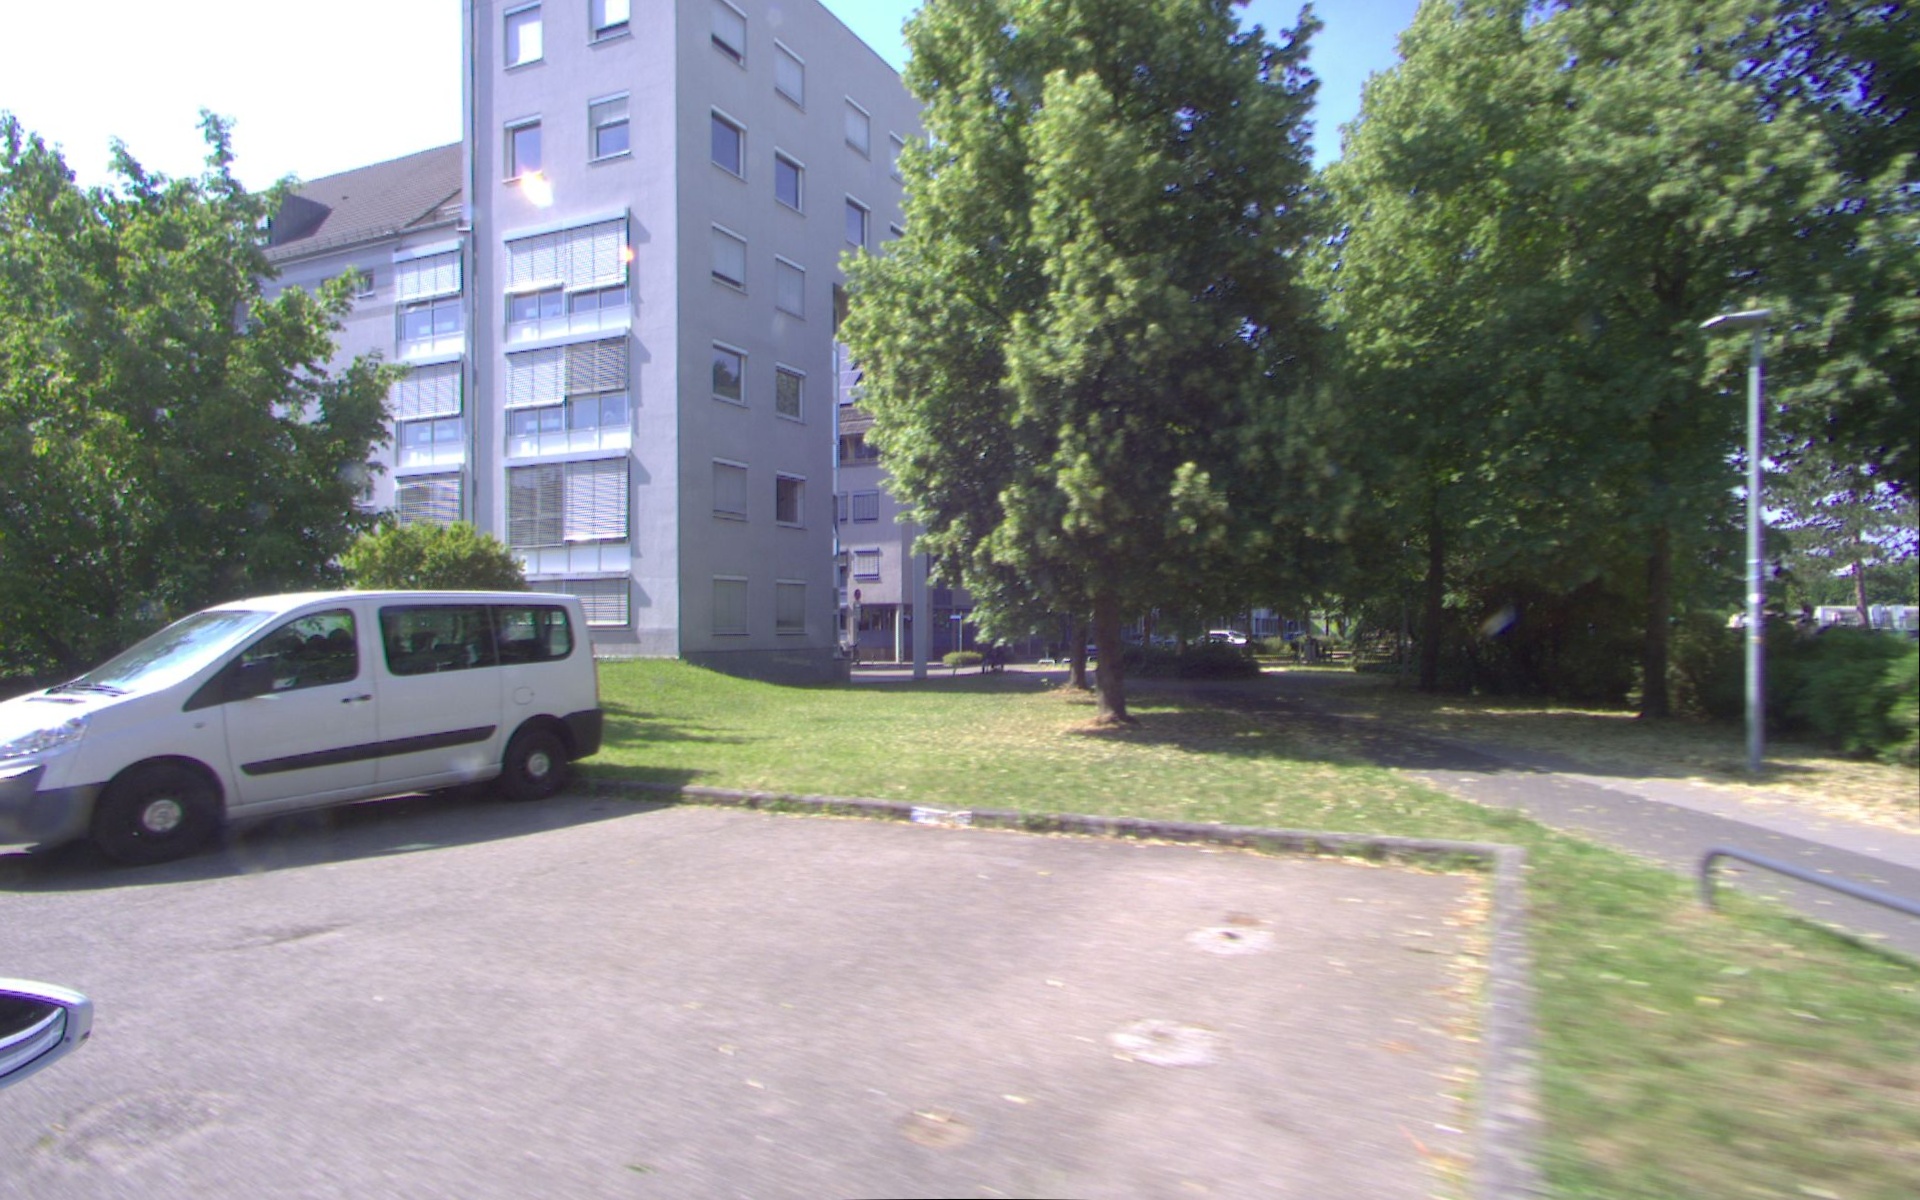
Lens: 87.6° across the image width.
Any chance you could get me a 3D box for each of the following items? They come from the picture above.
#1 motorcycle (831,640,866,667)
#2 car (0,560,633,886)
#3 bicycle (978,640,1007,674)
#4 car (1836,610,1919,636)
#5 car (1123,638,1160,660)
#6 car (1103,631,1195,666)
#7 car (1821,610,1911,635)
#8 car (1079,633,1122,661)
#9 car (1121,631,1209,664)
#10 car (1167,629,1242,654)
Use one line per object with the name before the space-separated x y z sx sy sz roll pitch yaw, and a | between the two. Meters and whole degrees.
motorcycle | -5.503 2.634 49.526 0.620 1.262 2.054 0 -1 30
car | -5.443 0.812 8.582 1.970 1.958 5.019 0 -2 30
bicycle | 1.081 1.859 32.977 0.388 1.063 1.445 0 -1 26
car | 60.336 1.489 65.380 4.513 1.623 1.544 -1 -1 32
car | 13.544 3.600 74.599 1.655 1.544 3.986 -1 -2 27
car | 9.903 2.495 52.516 4.372 1.661 1.990 0 0 31
car | 61.109 1.518 67.617 4.302 1.623 1.544 -1 -1 32
car | 9.172 3.035 65.114 1.831 1.617 3.989 0 0 23
car | 11.156 2.561 54.625 4.304 1.661 1.990 0 0 31
car | 16.044 2.719 65.832 4.487 1.568 1.764 -1 -1 34
